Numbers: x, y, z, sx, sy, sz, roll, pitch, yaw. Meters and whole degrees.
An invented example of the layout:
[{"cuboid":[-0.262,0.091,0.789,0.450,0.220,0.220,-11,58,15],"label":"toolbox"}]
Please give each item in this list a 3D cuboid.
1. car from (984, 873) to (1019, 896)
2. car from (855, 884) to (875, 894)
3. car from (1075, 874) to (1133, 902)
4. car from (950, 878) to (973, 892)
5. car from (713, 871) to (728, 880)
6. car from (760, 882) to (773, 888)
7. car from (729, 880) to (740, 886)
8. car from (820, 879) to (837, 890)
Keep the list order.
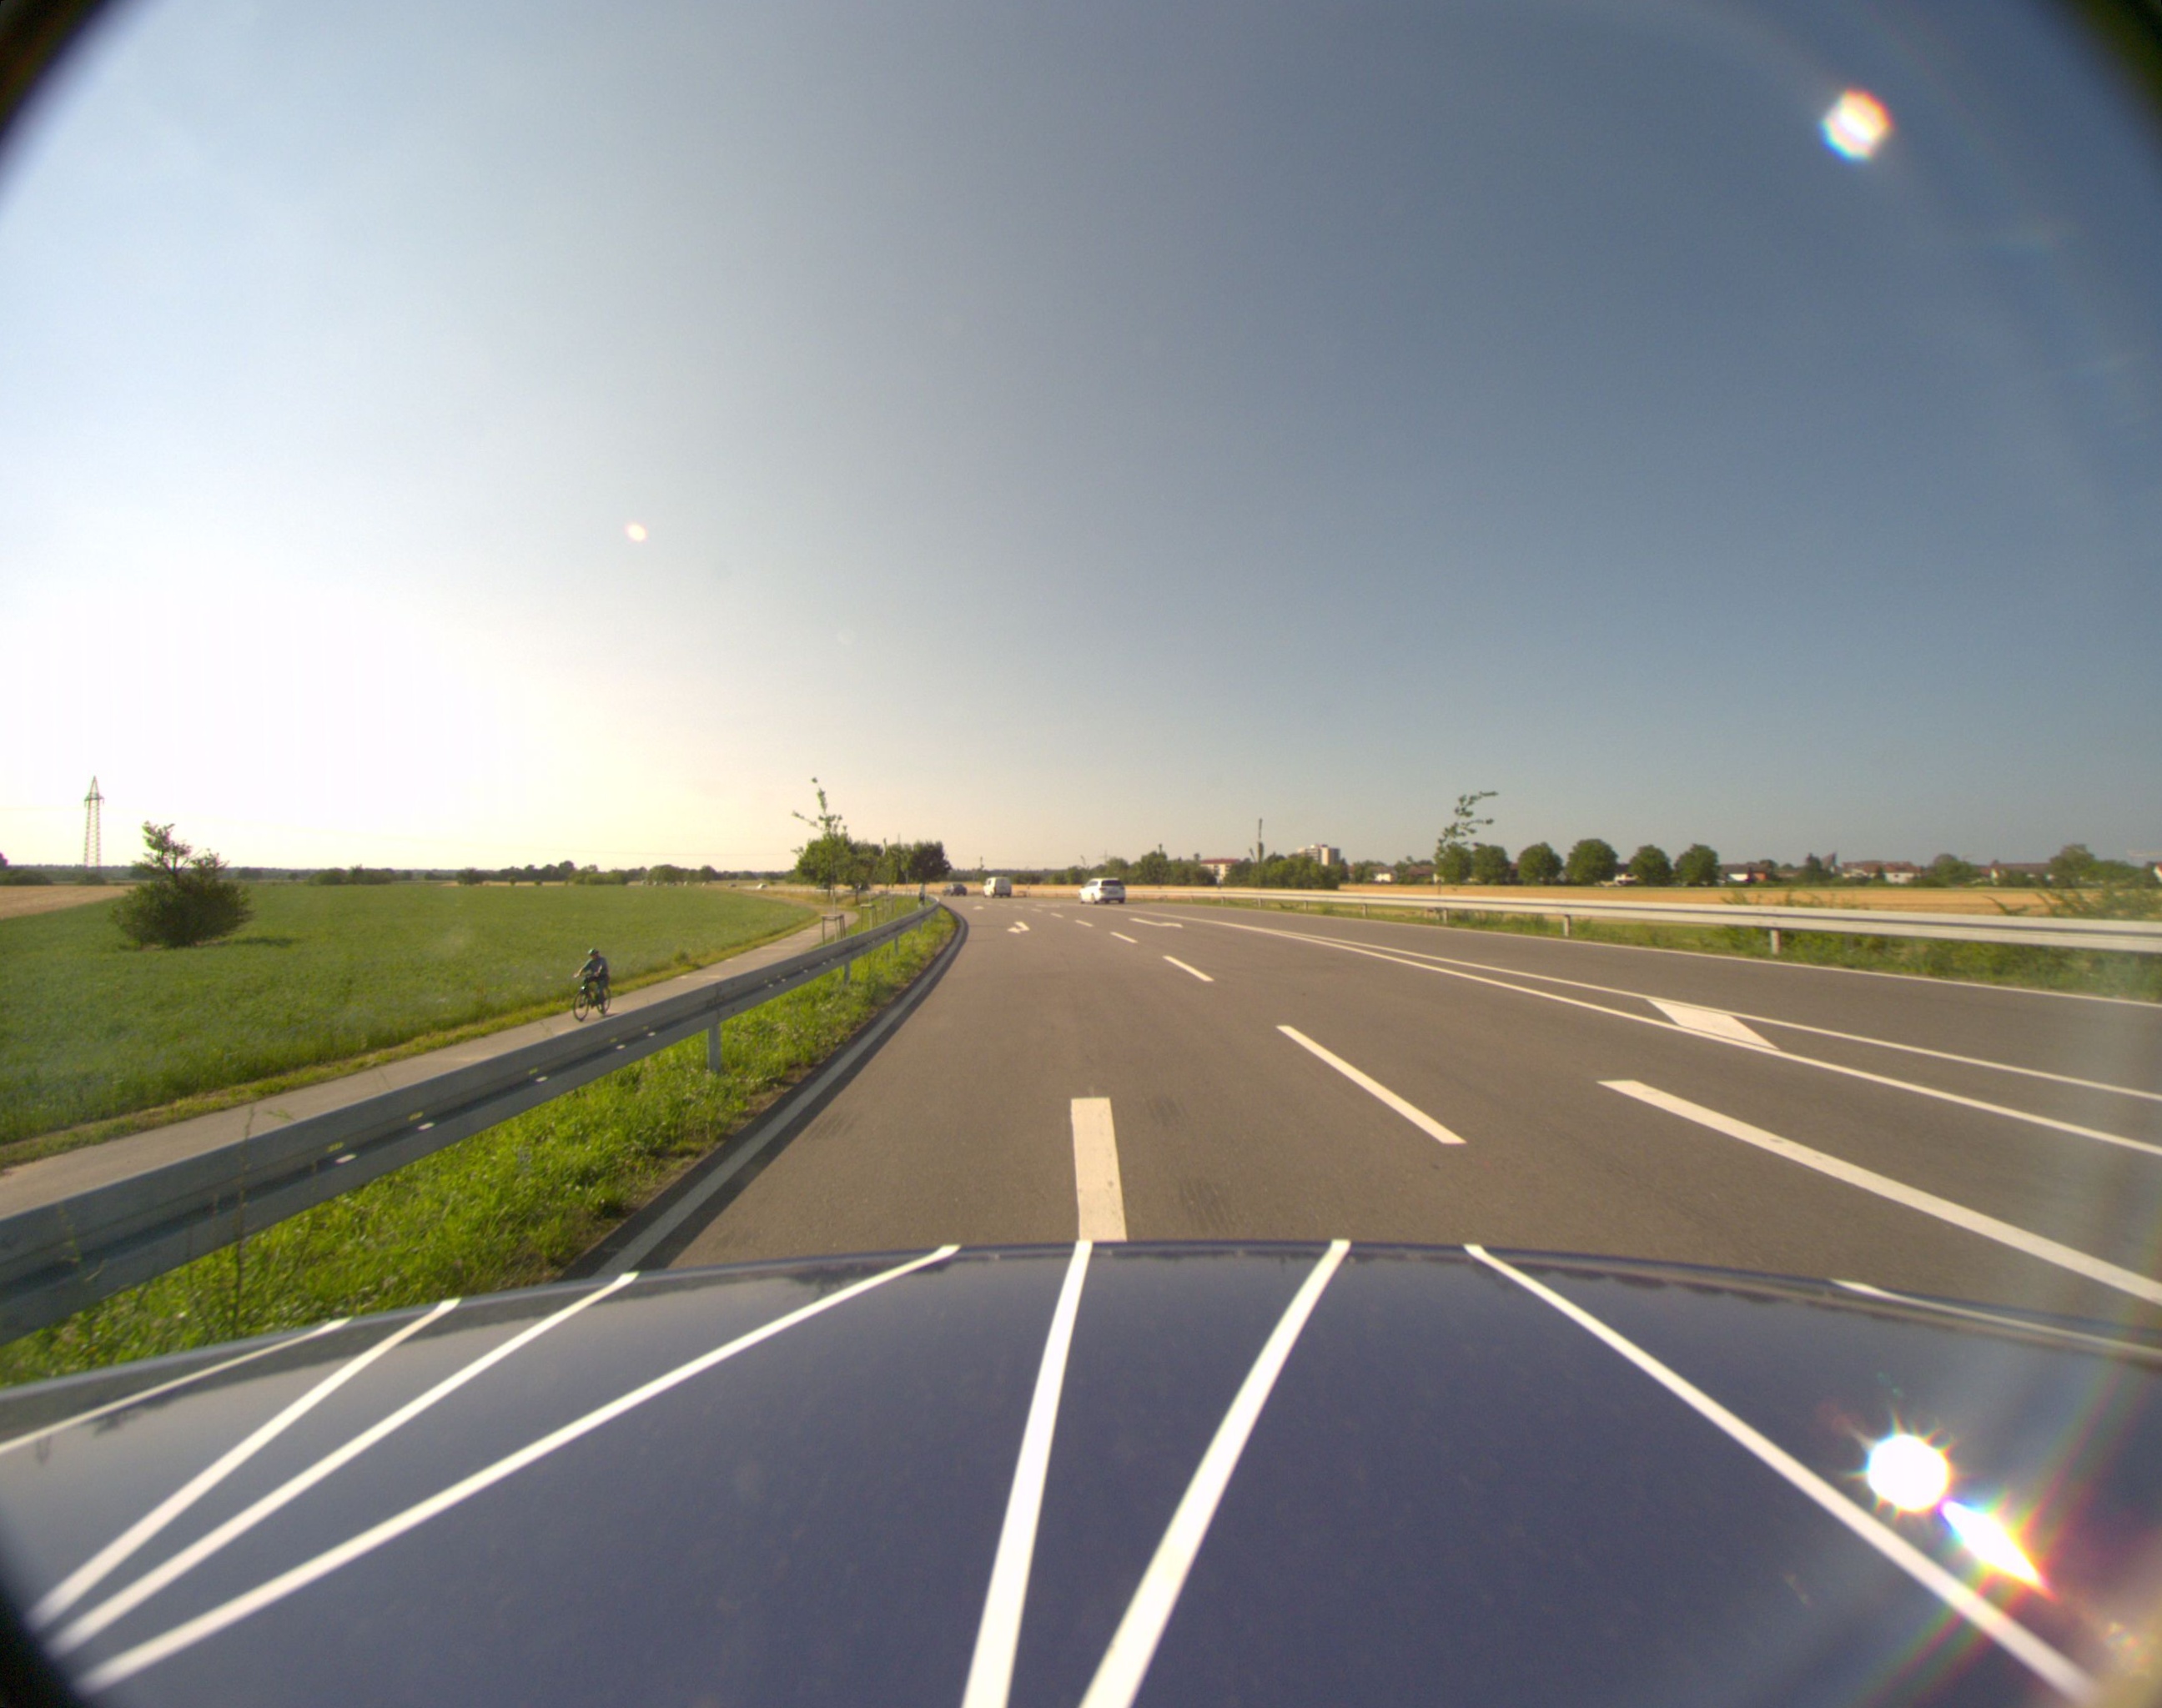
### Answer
[{"cuboid":[-7.939,3.079,75.308,2.124,2.000,5.148,-1,-3,-21],"label":"car"},{"cuboid":[-35.719,5.777,125.791,2.003,1.583,4.853,-1,-2,-31],"label":"car"},{"cuboid":[1.276,2.050,44.738,2.122,1.483,5.150,-2,-3,-13],"label":"car"},{"cuboid":[-13.822,3.562,87.541,1.802,1.439,4.701,-1,-3,-19],"label":"car"},{"cuboid":[-89.973,5.273,189.698,2.821,2.002,6.088,-2,0,-30],"label":"car"},{"cuboid":[-75.910,7.430,183.391,1.862,1.440,4.143,-2,0,-35],"label":"car"},{"cuboid":[-96.494,8.133,211.464,1.847,1.535,4.233,-2,1,-38],"label":"car"},{"cuboid":[-47.599,5.653,142.980,1.891,1.787,5.079,-2,1,-31],"label":"car"}]
